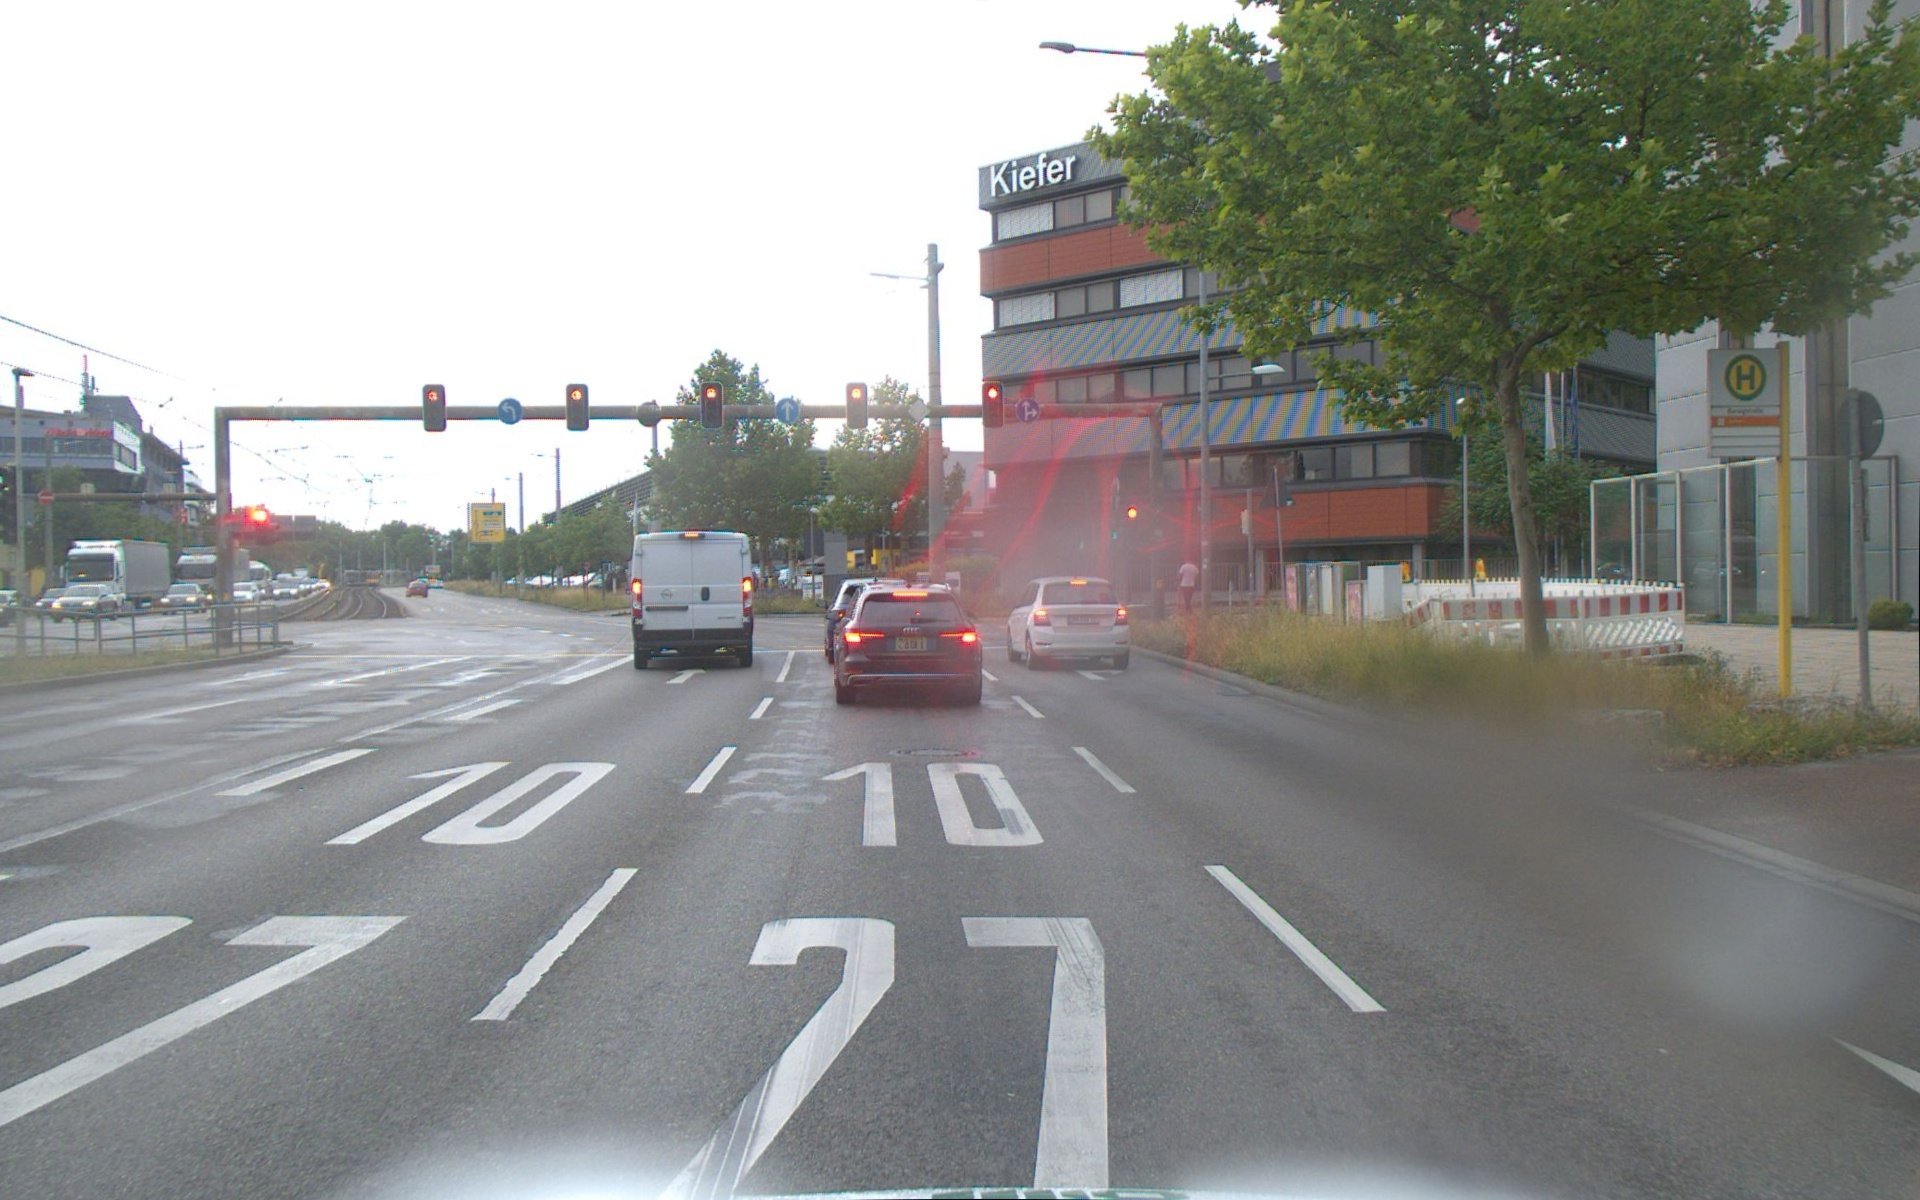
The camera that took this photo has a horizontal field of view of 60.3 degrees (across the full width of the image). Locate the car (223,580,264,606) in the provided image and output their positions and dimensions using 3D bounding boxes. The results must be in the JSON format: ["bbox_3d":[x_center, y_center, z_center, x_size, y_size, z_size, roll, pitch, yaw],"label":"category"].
[{"bbox_3d":[-48.203,-0.486,111.293,1.855,1.681,4.080,1,0,-14],"label":"car"}]

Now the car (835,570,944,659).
[{"bbox_3d":[-1.262,0.250,30.264,1.855,1.491,3.908,-1,0,-2],"label":"car"}]

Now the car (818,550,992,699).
[{"bbox_3d":[-0.729,0.293,20.915,1.954,1.666,3.997,1,0,-3],"label":"car"}]

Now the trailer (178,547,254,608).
[{"bbox_3d":[-54.262,-1.535,120.982,2.605,4.196,12.700,-1,0,-13],"label":"trailer"}]

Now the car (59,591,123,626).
[{"bbox_3d":[-39.269,0.384,74.829,1.710,1.488,4.135,1,0,-16],"label":"car"}]

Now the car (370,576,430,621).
[{"bbox_3d":[-26.192,-0.099,77.494,1.739,2.049,4.342,1,1,-6],"label":"car"}]

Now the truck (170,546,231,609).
[{"bbox_3d":[-52.950,-1.538,115.441,2.621,4.202,6.165,-1,0,-13],"label":"truck"}]

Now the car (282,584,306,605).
[{"bbox_3d":[-63.277,-0.555,157.131,1.964,1.869,4.880,0,2,-20],"label":"car"}]

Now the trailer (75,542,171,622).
[{"bbox_3d":[-47.345,-1.043,93.922,2.750,4.179,11.391,-1,1,-16],"label":"trailer"}]

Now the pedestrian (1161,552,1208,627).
[{"bbox_3d":[6.635,-0.320,48.944,1.121,2.162,1.222,-2,2,-4],"label":"pedestrian"}]

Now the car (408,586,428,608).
[{"bbox_3d":[-51.608,-0.269,157.527,1.745,2.049,4.325,1,0,-18],"label":"car"}]

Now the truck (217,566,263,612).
[{"bbox_3d":[-63.833,-0.968,146.588,2.723,3.871,5.346,-2,0,-34],"label":"truck"}]

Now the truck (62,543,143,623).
[{"bbox_3d":[-45.538,-0.899,87.948,2.788,4.065,5.956,-1,1,-18],"label":"truck"}]

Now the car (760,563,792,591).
[{"bbox_3d":[-13.809,-1.691,124.005,1.654,2.049,3.522,1,0,-19],"label":"car"}]

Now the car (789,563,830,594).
[{"bbox_3d":[-10.505,-1.469,115.293,1.963,2.067,3.979,-2,1,-19],"label":"car"}]

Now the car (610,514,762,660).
[{"bbox_3d":[-4.844,-0.202,29.414,2.400,2.334,4.894,1,0,-9],"label":"car"}]

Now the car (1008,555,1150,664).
[{"bbox_3d":[1.915,0.153,27.795,1.793,1.685,3.996,0,0,-5],"label":"car"}]

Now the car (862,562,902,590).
[{"bbox_3d":[-6.067,-1.853,127.691,1.845,2.049,3.746,1,0,-24],"label":"car"}]

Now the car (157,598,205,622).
[{"bbox_3d":[-43.150,0.546,91.735,1.879,1.286,4.390,1,0,-19],"label":"car"}]

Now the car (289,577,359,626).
[{"bbox_3d":[-27.710,0.041,72.181,1.739,2.049,4.342,1,1,-6],"label":"car"}]

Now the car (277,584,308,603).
[{"bbox_3d":[-57.038,-0.572,141.334,1.872,1.582,4.547,1,0,-15],"label":"car"}]
